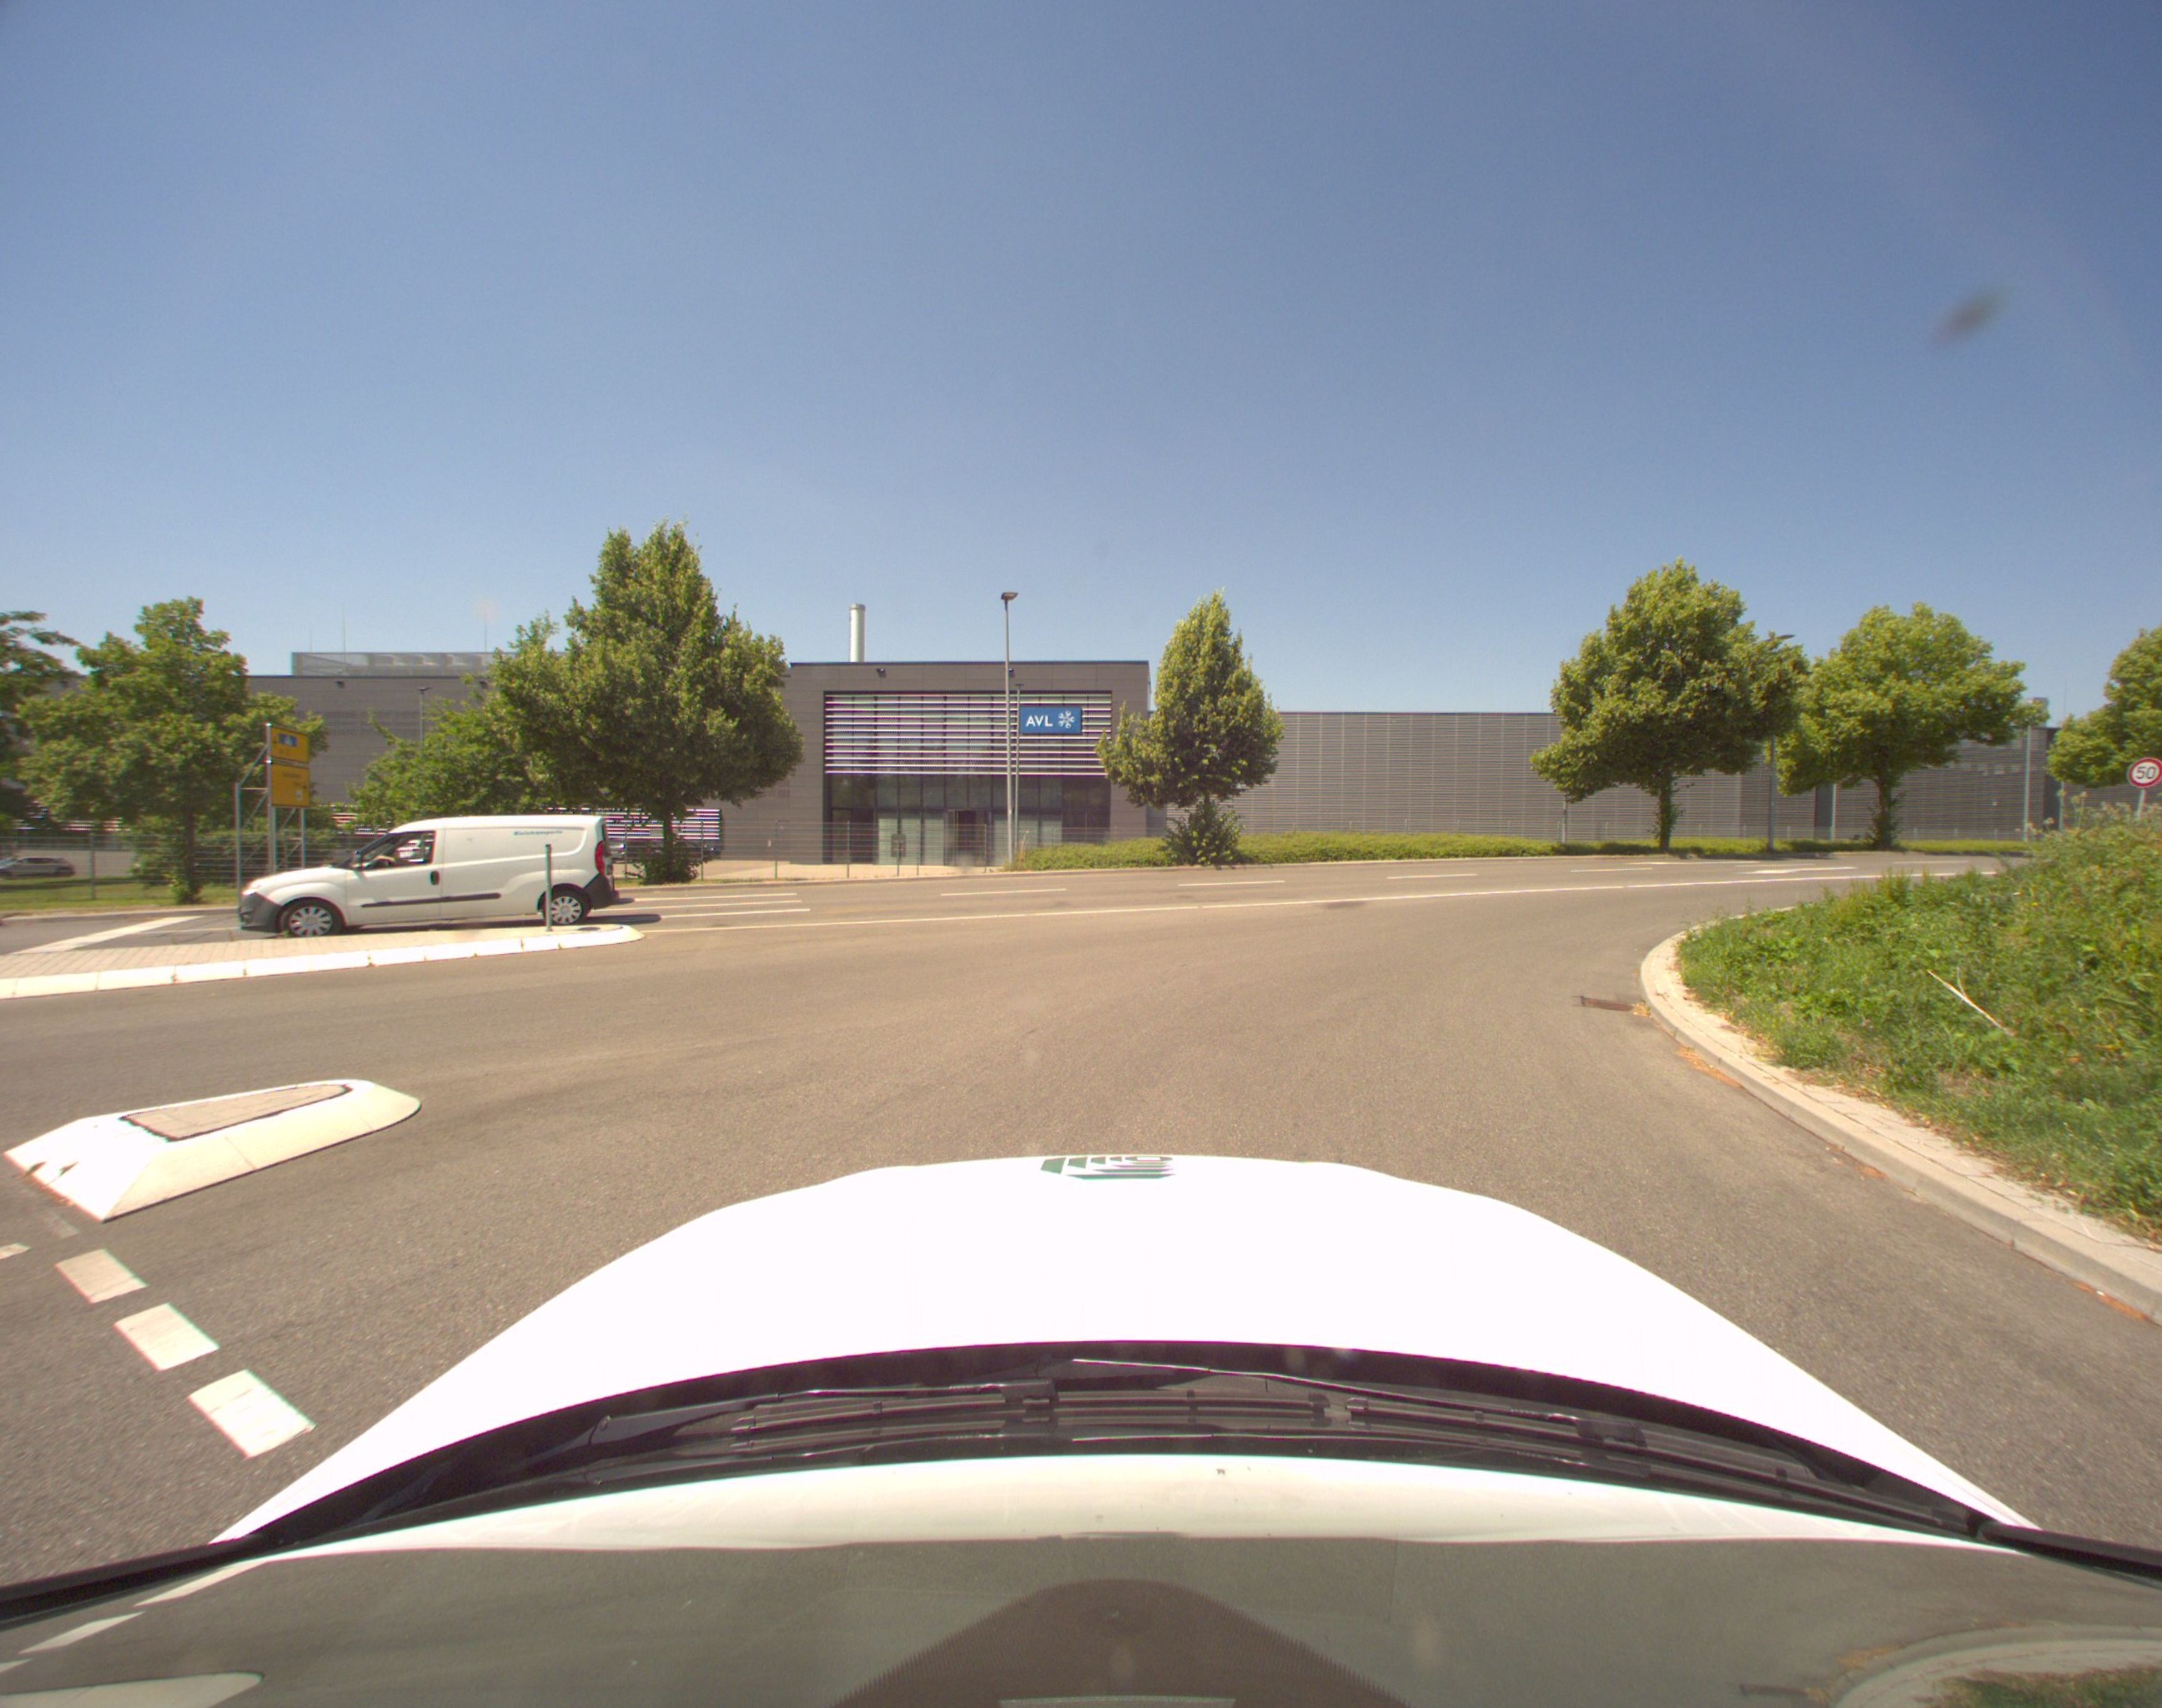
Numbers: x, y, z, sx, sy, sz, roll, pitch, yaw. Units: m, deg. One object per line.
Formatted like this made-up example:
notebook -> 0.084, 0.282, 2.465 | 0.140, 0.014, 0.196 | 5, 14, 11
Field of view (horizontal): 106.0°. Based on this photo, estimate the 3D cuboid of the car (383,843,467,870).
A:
car -> -39.864, 0.108, 49.616 | 1.759, 1.460, 4.002 | -3, 1, 1

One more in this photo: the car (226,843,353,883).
car -> -37.485, 0.397, 38.721 | 1.986, 1.705, 4.002 | -3, 1, 1

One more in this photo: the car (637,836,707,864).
car -> -24.302, -0.268, 48.566 | 1.986, 1.486, 4.002 | -3, 1, 1

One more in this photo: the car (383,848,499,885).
car -> -29.157, 0.541, 37.273 | 1.986, 1.486, 4.002 | -3, 1, 1

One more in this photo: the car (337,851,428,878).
car -> -42.680, 0.599, 49.896 | 1.986, 1.486, 4.002 | -3, 1, 1

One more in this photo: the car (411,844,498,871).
car -> -37.654, 0.172, 49.095 | 1.986, 1.486, 4.002 | -3, 1, 1

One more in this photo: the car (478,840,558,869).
car -> -34.158, 0.001, 49.517 | 1.907, 1.516, 4.002 | -3, 2, 1

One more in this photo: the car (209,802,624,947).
car -> -10.266, 0.216, 13.247 | 4.883, 1.942, 1.983 | 0, 5, -28

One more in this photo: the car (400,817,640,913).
car -> -11.437, 0.151, 16.994 | 3.874, 1.706, 1.983 | 0, 5, -28
